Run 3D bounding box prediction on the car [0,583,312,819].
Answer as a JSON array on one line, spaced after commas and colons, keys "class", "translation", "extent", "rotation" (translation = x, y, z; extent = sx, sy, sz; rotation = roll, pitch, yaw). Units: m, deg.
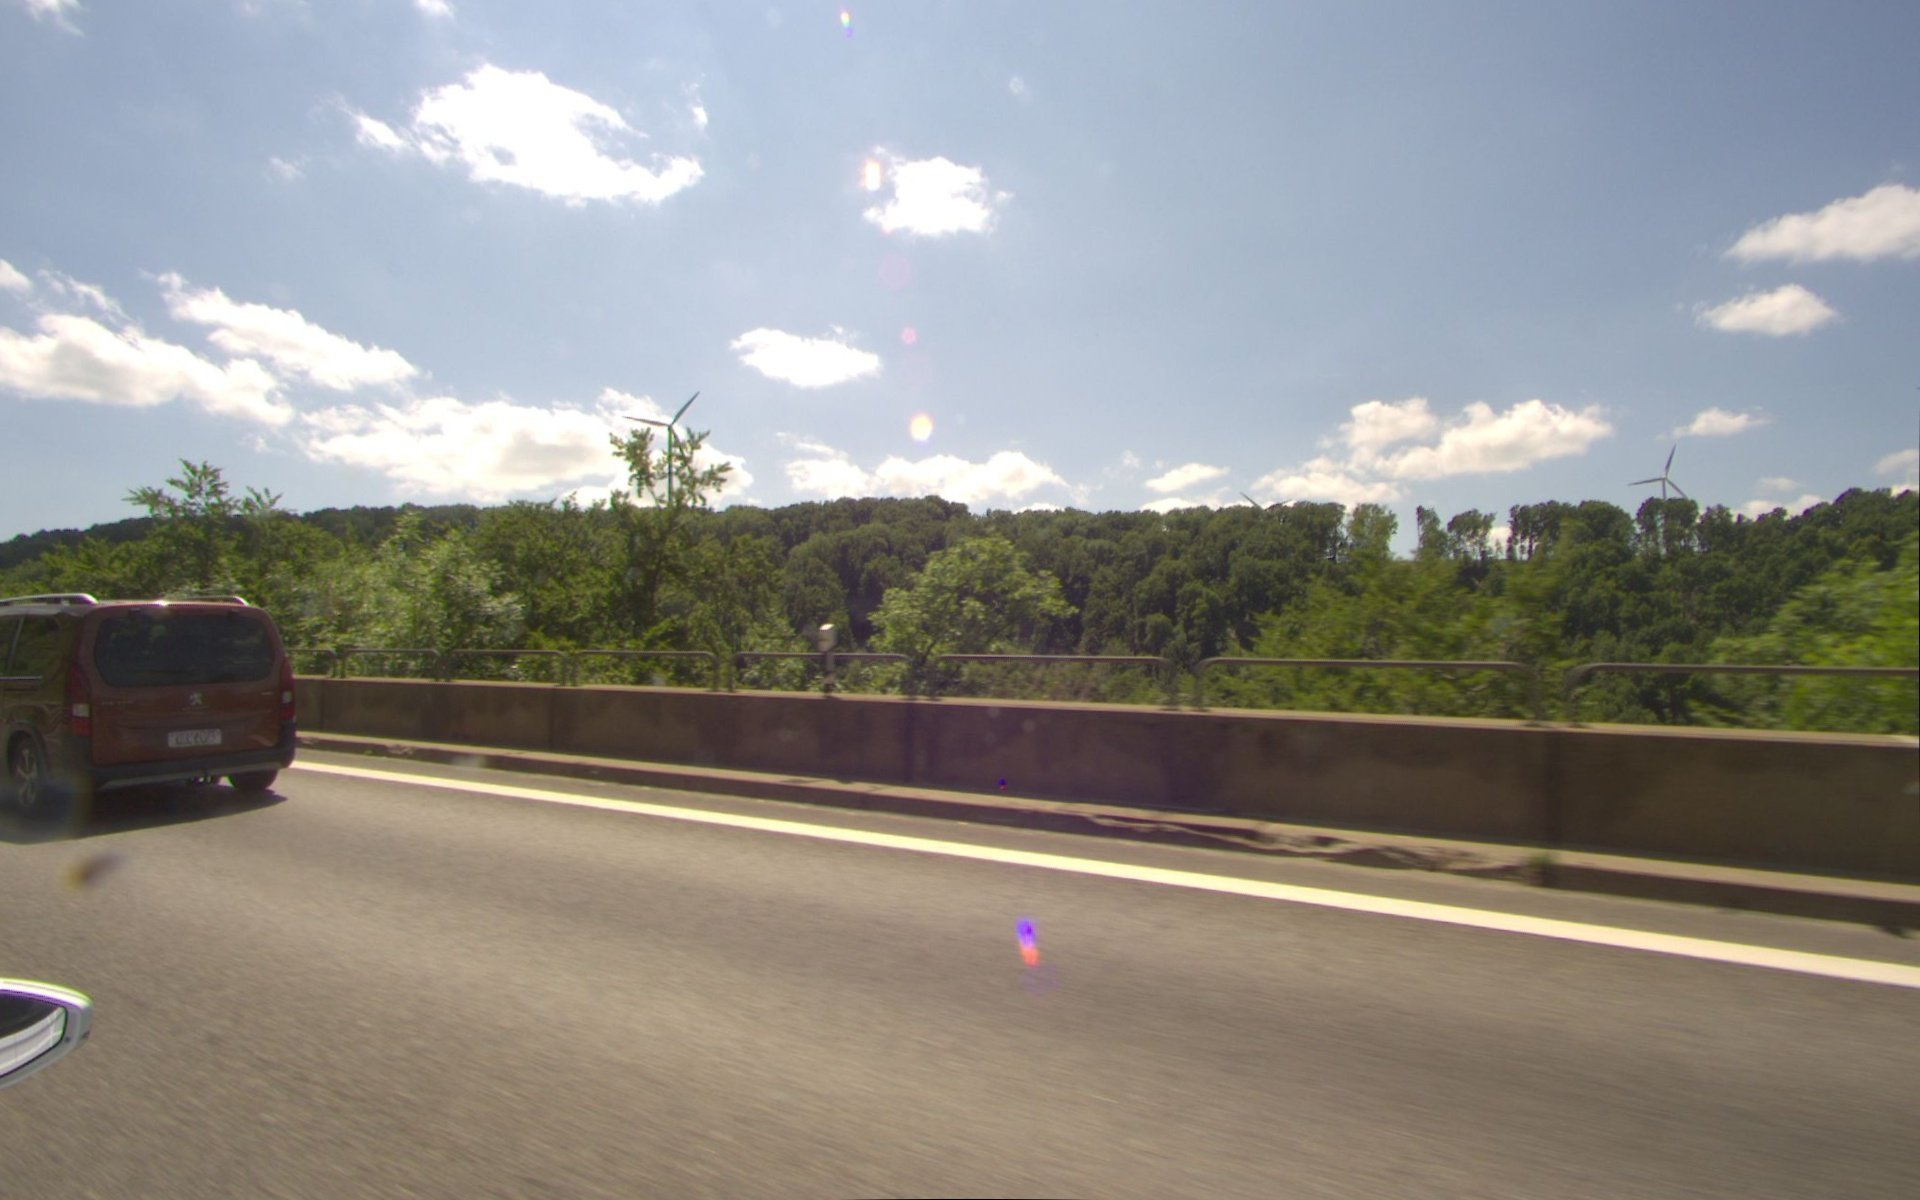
[{"class": "car", "translation": [-8.407, 0.871, 9.673], "extent": [4.609, 1.806, 1.831], "rotation": [-2, -2, 32]}]
